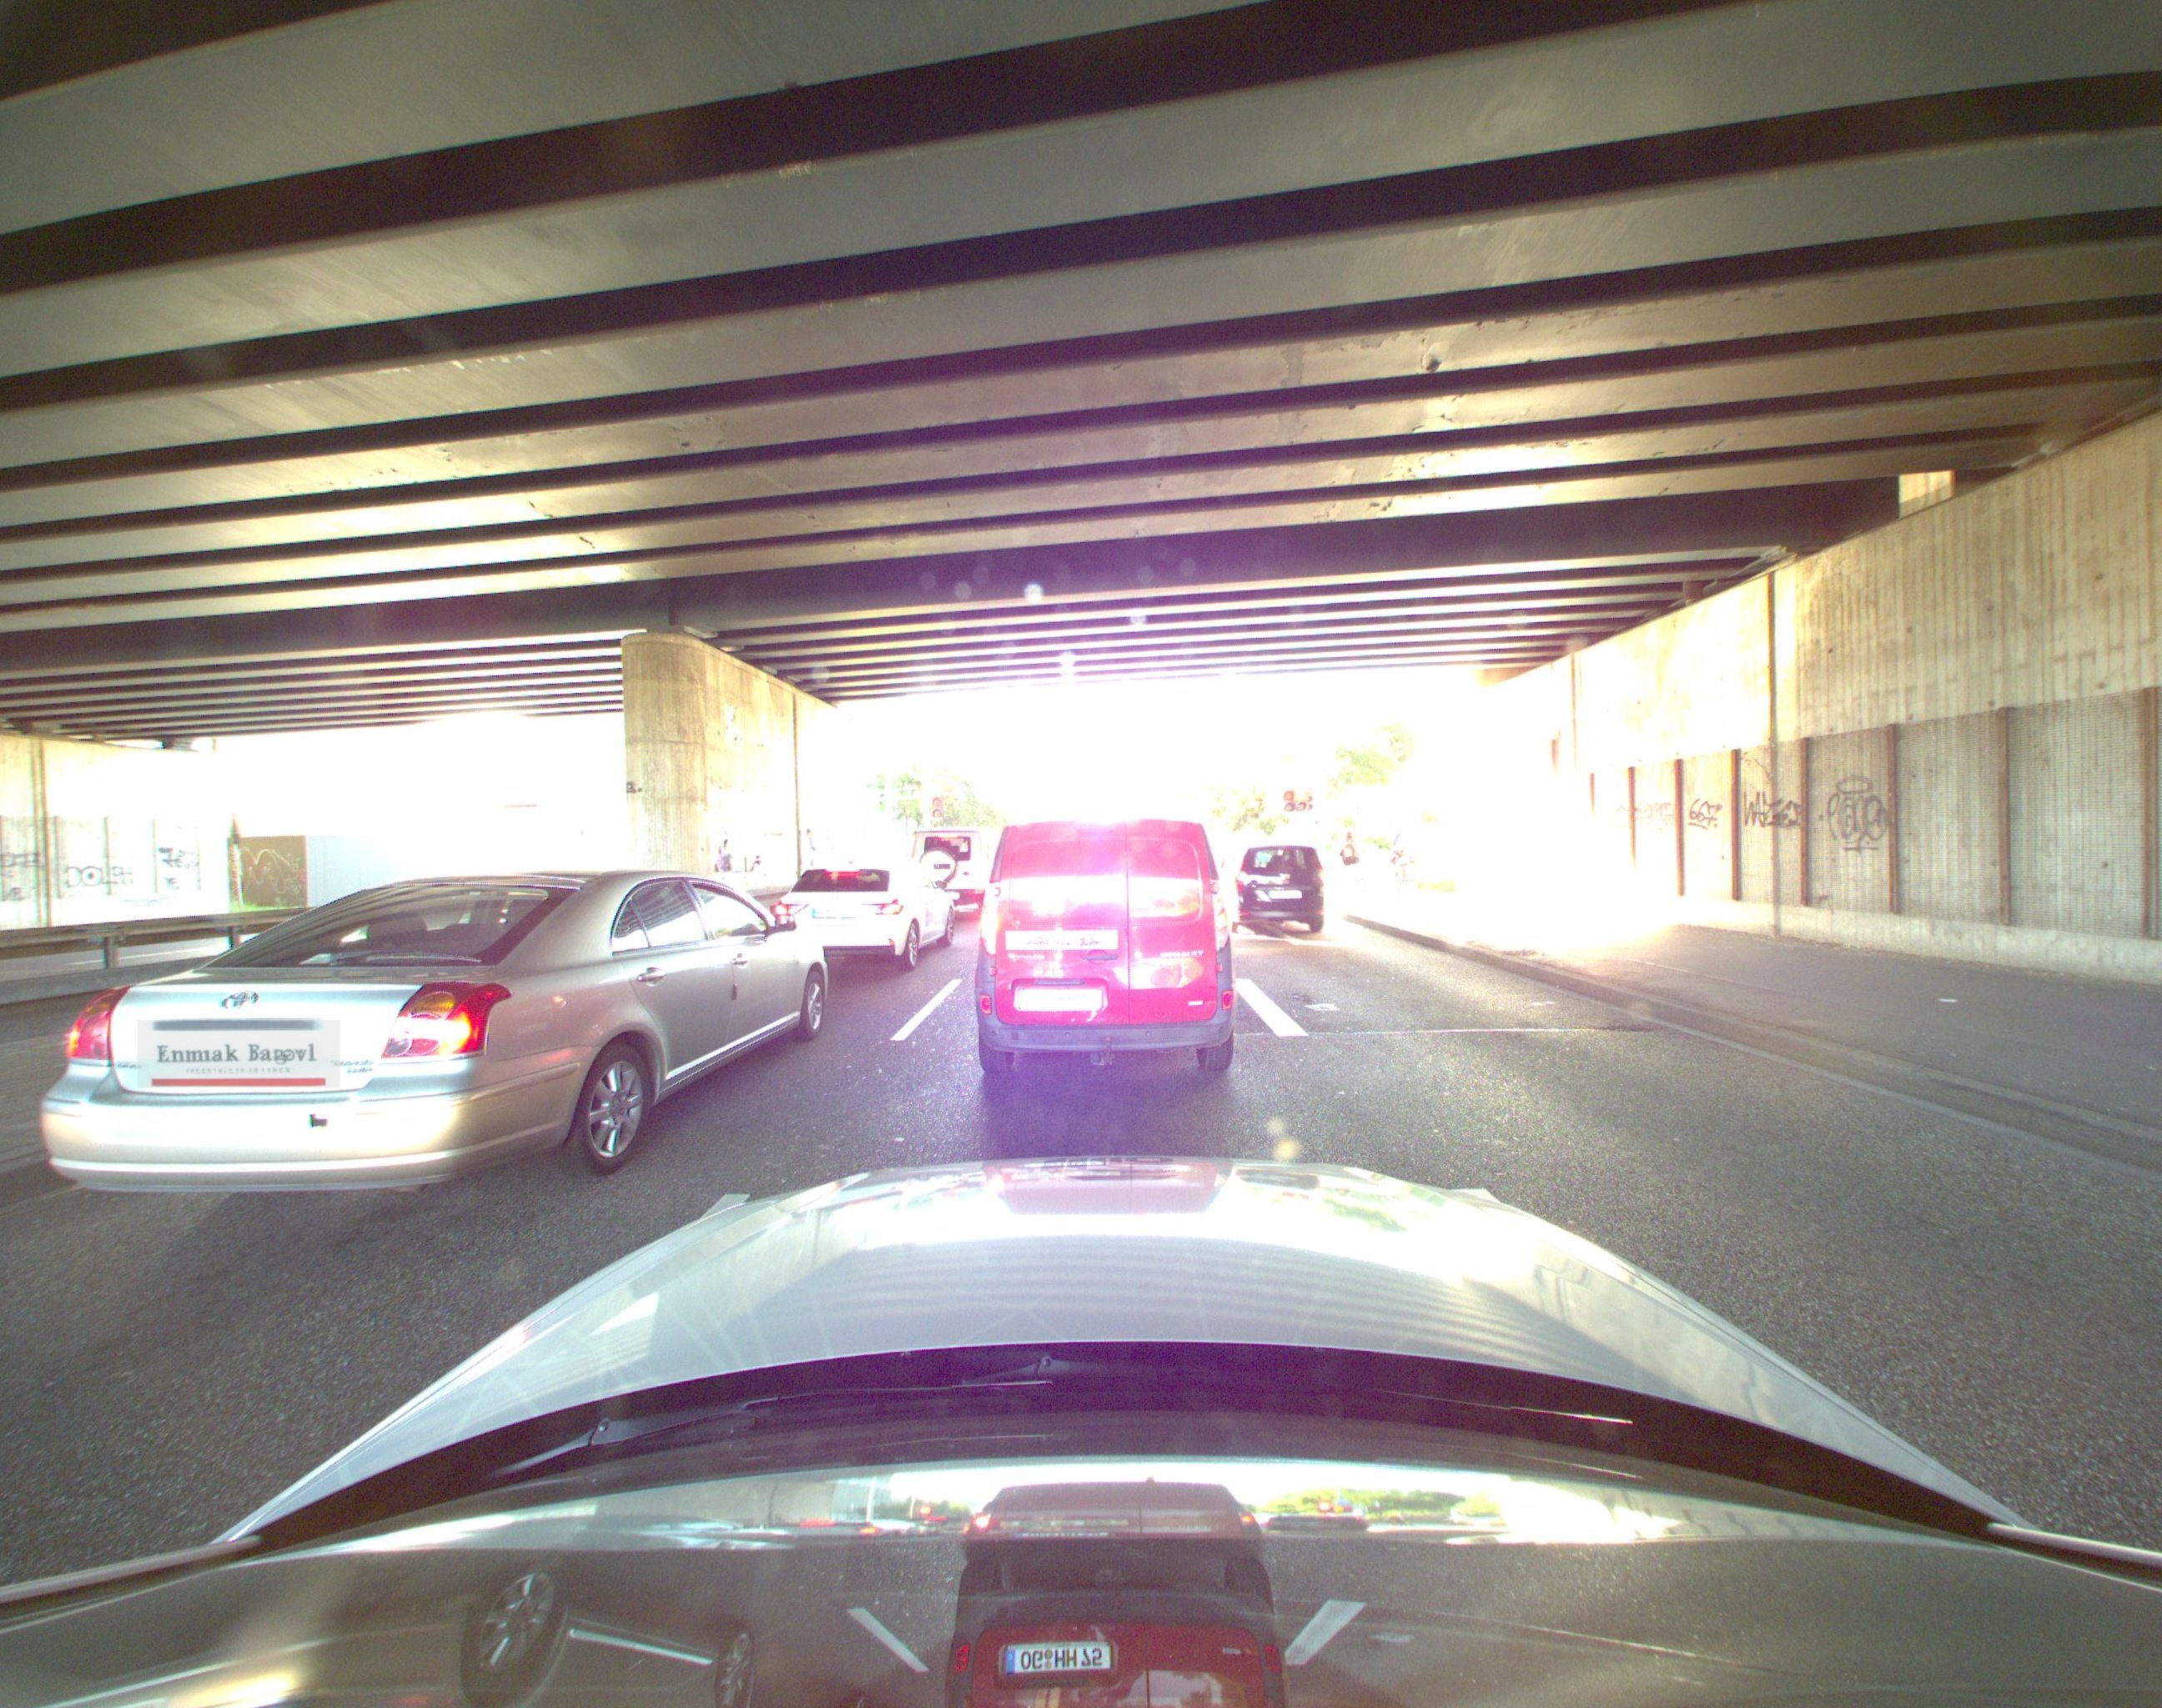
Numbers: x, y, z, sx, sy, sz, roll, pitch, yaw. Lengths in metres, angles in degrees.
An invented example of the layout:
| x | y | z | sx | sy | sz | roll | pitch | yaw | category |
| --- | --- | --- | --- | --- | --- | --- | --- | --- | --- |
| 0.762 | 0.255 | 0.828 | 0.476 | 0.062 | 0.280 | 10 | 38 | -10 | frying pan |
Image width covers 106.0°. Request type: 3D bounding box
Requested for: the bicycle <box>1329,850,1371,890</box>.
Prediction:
| x | y | z | sx | sy | sz | roll | pitch | yaw | category |
| --- | --- | --- | --- | --- | --- | --- | --- | --- | --- |
| 7.156 | 0.423 | 21.723 | 0.589 | 1.023 | 1.751 | 0 | -1 | 2 | bicycle |

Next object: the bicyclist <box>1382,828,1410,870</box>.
| x | y | z | sx | sy | sz | roll | pitch | yaw | category |
| --- | --- | --- | --- | --- | --- | --- | --- | --- | --- |
| 11.160 | -0.163 | 28.846 | 0.658 | 1.474 | 0.755 | -1 | -1 | 42 | bicyclist |

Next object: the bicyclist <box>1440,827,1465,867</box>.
| x | y | z | sx | sy | sz | roll | pitch | yaw | category |
| --- | --- | --- | --- | --- | --- | --- | --- | --- | --- |
| 14.162 | -0.262 | 31.073 | 0.648 | 1.480 | 0.617 | -1 | 1 | -4 | bicyclist |

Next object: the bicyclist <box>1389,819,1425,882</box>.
| x | y | z | sx | sy | sz | roll | pitch | yaw | category |
| --- | --- | --- | --- | --- | --- | --- | --- | --- | --- |
| 8.241 | -0.088 | 20.608 | 0.589 | 1.548 | 0.769 | 0 | -1 | 1 | bicyclist |

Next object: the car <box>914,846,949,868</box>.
| x | y | z | sx | sy | sz | roll | pitch | yaw | category |
| --- | --- | --- | --- | --- | --- | --- | --- | --- | --- |
| -13.197 | 0.255 | 72.123 | 1.817 | 1.737 | 4.634 | -4 | 0 | 4 | car |

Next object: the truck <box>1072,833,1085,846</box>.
| x | y | z | sx | sy | sz | roll | pitch | yaw | category |
| --- | --- | --- | --- | --- | --- | --- | --- | --- | --- |
| -0.561 | -3.455 | 193.581 | 2.399 | 3.026 | 6.661 | -4 | 0 | 3 | truck |

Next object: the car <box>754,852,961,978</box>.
| x | y | z | sx | sy | sz | roll | pitch | yaw | category |
| --- | --- | --- | --- | --- | --- | --- | --- | --- | --- |
| -2.950 | 0.720 | 11.600 | 1.807 | 1.438 | 3.732 | -1 | 1 | 1 | car |

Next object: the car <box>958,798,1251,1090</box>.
| x | y | z | sx | sy | sz | roll | pitch | yaw | category |
| --- | --- | --- | --- | --- | --- | --- | --- | --- | --- |
| 0.204 | 0.574 | 7.039 | 1.798 | 1.794 | 4.001 | 0 | -1 | 2 | car |

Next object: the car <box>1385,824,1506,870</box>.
| x | y | z | sx | sy | sz | roll | pitch | yaw | category |
| --- | --- | --- | --- | --- | --- | --- | --- | --- | --- |
| 16.317 | -0.316 | 36.552 | 4.632 | 1.885 | 1.882 | -1 | 0 | -8 | car |

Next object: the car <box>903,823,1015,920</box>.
| x | y | z | sx | sy | sz | roll | pitch | yaw | category |
| --- | --- | --- | --- | --- | --- | --- | --- | --- | --- |
| -2.699 | 0.370 | 19.072 | 1.794 | 1.989 | 4.591 | 0 | -1 | 2 | car |

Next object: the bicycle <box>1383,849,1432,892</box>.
| x | y | z | sx | sy | sz | roll | pitch | yaw | category |
| --- | --- | --- | --- | --- | --- | --- | --- | --- | --- |
| 8.242 | 0.406 | 20.616 | 0.589 | 1.023 | 1.751 | 0 | -1 | 2 | bicycle |

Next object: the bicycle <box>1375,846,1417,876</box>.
| x | y | z | sx | sy | sz | roll | pitch | yaw | category |
| --- | --- | --- | --- | --- | --- | --- | --- | --- | --- |
| 11.188 | 0.243 | 28.869 | 0.665 | 1.023 | 2.068 | -1 | -1 | 43 | bicycle |

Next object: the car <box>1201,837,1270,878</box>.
| x | y | z | sx | sy | sz | roll | pitch | yaw | category |
| --- | --- | --- | --- | --- | --- | --- | --- | --- | --- |
| 6.365 | 0.134 | 33.118 | 1.864 | 1.543 | 4.216 | -1 | 0 | 23 | car |

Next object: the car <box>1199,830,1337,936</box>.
| x | y | z | sx | sy | sz | roll | pitch | yaw | category |
| --- | --- | --- | --- | --- | --- | --- | --- | --- | --- |
| 3.367 | 0.477 | 15.408 | 1.713 | 1.706 | 3.981 | -1 | 0 | 0 | car |

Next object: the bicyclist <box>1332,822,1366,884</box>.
| x | y | z | sx | sy | sz | roll | pitch | yaw | category |
| --- | --- | --- | --- | --- | --- | --- | --- | --- | --- |
| 7.138 | -0.026 | 21.724 | 0.589 | 1.613 | 0.943 | 0 | -1 | 2 | bicyclist |

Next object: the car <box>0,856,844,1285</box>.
| x | y | z | sx | sy | sz | roll | pitch | yaw | category |
| --- | --- | --- | --- | --- | --- | --- | --- | --- | --- |
| -3.007 | 0.777 | 5.067 | 1.727 | 1.480 | 4.319 | -1 | 0 | 0 | car |

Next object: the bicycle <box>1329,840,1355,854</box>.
| x | y | z | sx | sy | sz | roll | pitch | yaw | category |
| --- | --- | --- | --- | --- | --- | --- | --- | --- | --- |
| 19.422 | -0.530 | 60.628 | 1.734 | 1.023 | 0.595 | -1 | -1 | 10 | bicycle |

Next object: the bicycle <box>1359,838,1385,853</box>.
| x | y | z | sx | sy | sz | roll | pitch | yaw | category |
| --- | --- | --- | --- | --- | --- | --- | --- | --- | --- |
| 21.289 | -0.631 | 59.600 | 1.733 | 1.023 | 0.596 | -1 | -1 | 13 | bicycle |

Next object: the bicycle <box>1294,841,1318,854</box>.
| x | y | z | sx | sy | sz | roll | pitch | yaw | category |
| --- | --- | --- | --- | --- | --- | --- | --- | --- | --- |
| 17.186 | -0.501 | 62.145 | 1.734 | 1.023 | 0.595 | -1 | -1 | 10 | bicycle |
